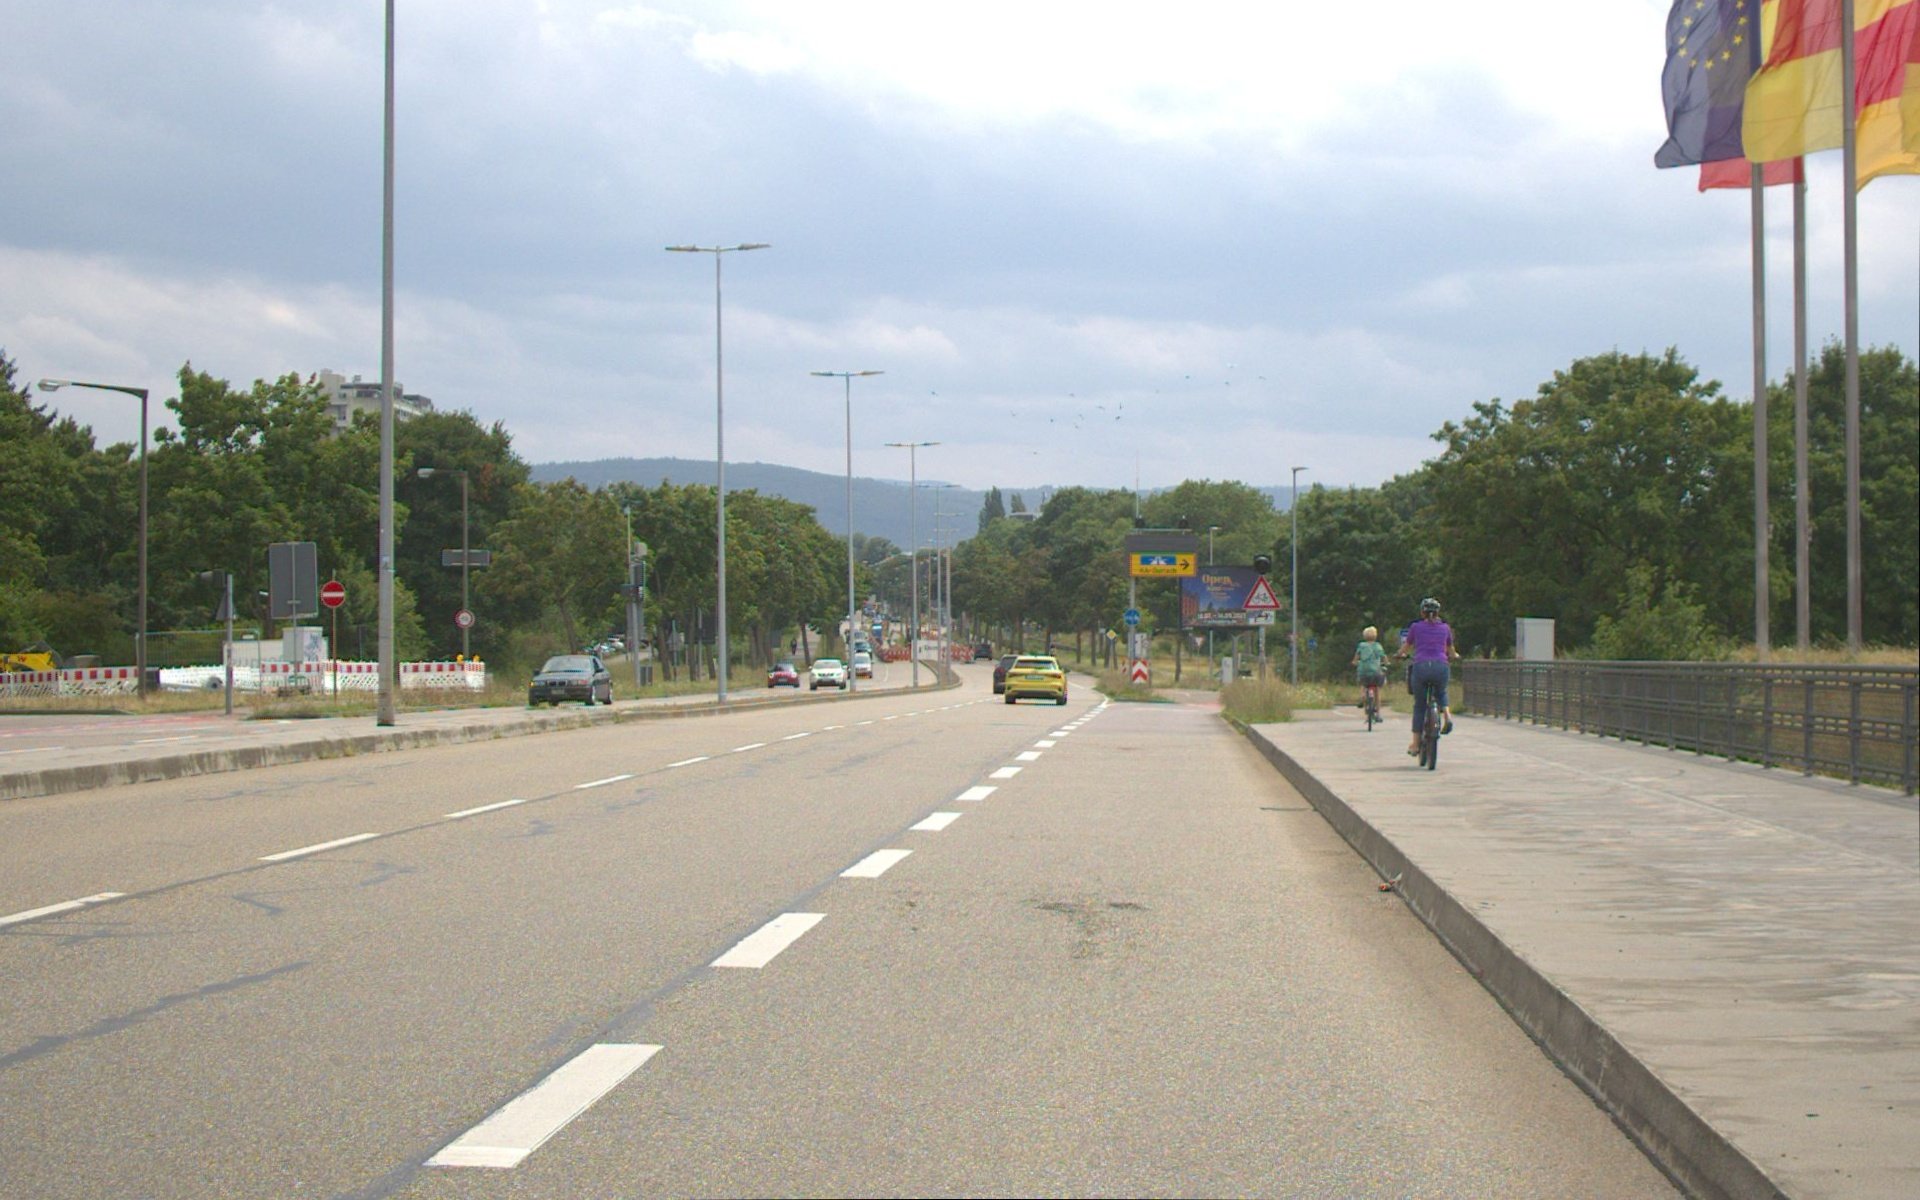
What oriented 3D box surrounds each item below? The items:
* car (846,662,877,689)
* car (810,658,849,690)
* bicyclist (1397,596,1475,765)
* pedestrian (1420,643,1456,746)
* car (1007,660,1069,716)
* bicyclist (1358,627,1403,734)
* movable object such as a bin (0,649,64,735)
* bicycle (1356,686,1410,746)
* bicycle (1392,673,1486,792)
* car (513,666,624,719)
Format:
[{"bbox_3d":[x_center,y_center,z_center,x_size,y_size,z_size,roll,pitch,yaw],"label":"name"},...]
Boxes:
[{"bbox_3d":[-6.962,5.331,243.113,1.903,1.803,4.539,0,0,2],"label":"car"},{"bbox_3d":[-6.958,3.935,183.529,1.694,1.623,4.383,0,0,3],"label":"car"},{"bbox_3d":[4.980,0.839,36.036,0.703,1.749,0.991,0,-1,1],"label":"bicyclist"},{"bbox_3d":[9.376,1.846,67.447,0.627,2.007,0.668,0,0,3],"label":"pedestrian"},{"bbox_3d":[2.301,2.603,102.462,1.793,1.557,4.000,0,0,1],"label":"car"},{"bbox_3d":[6.636,1.268,54.295,0.621,1.660,0.669,0,0,1],"label":"bicyclist"},{"bbox_3d":[-27.843,2.596,97.298,4.577,2.389,2.000,0,0,-7],"label":"movable object such as a bin"},{"bbox_3d":[6.617,1.807,53.899,0.623,0.885,2.154,0,0,1],"label":"bicycle"},{"bbox_3d":[5.029,1.375,36.210,0.693,1.188,2.461,0,-1,1],"label":"bicycle"},{"bbox_3d":[-10.634,2.517,93.612,1.994,1.369,4.575,-1,-2,7],"label":"car"}]
